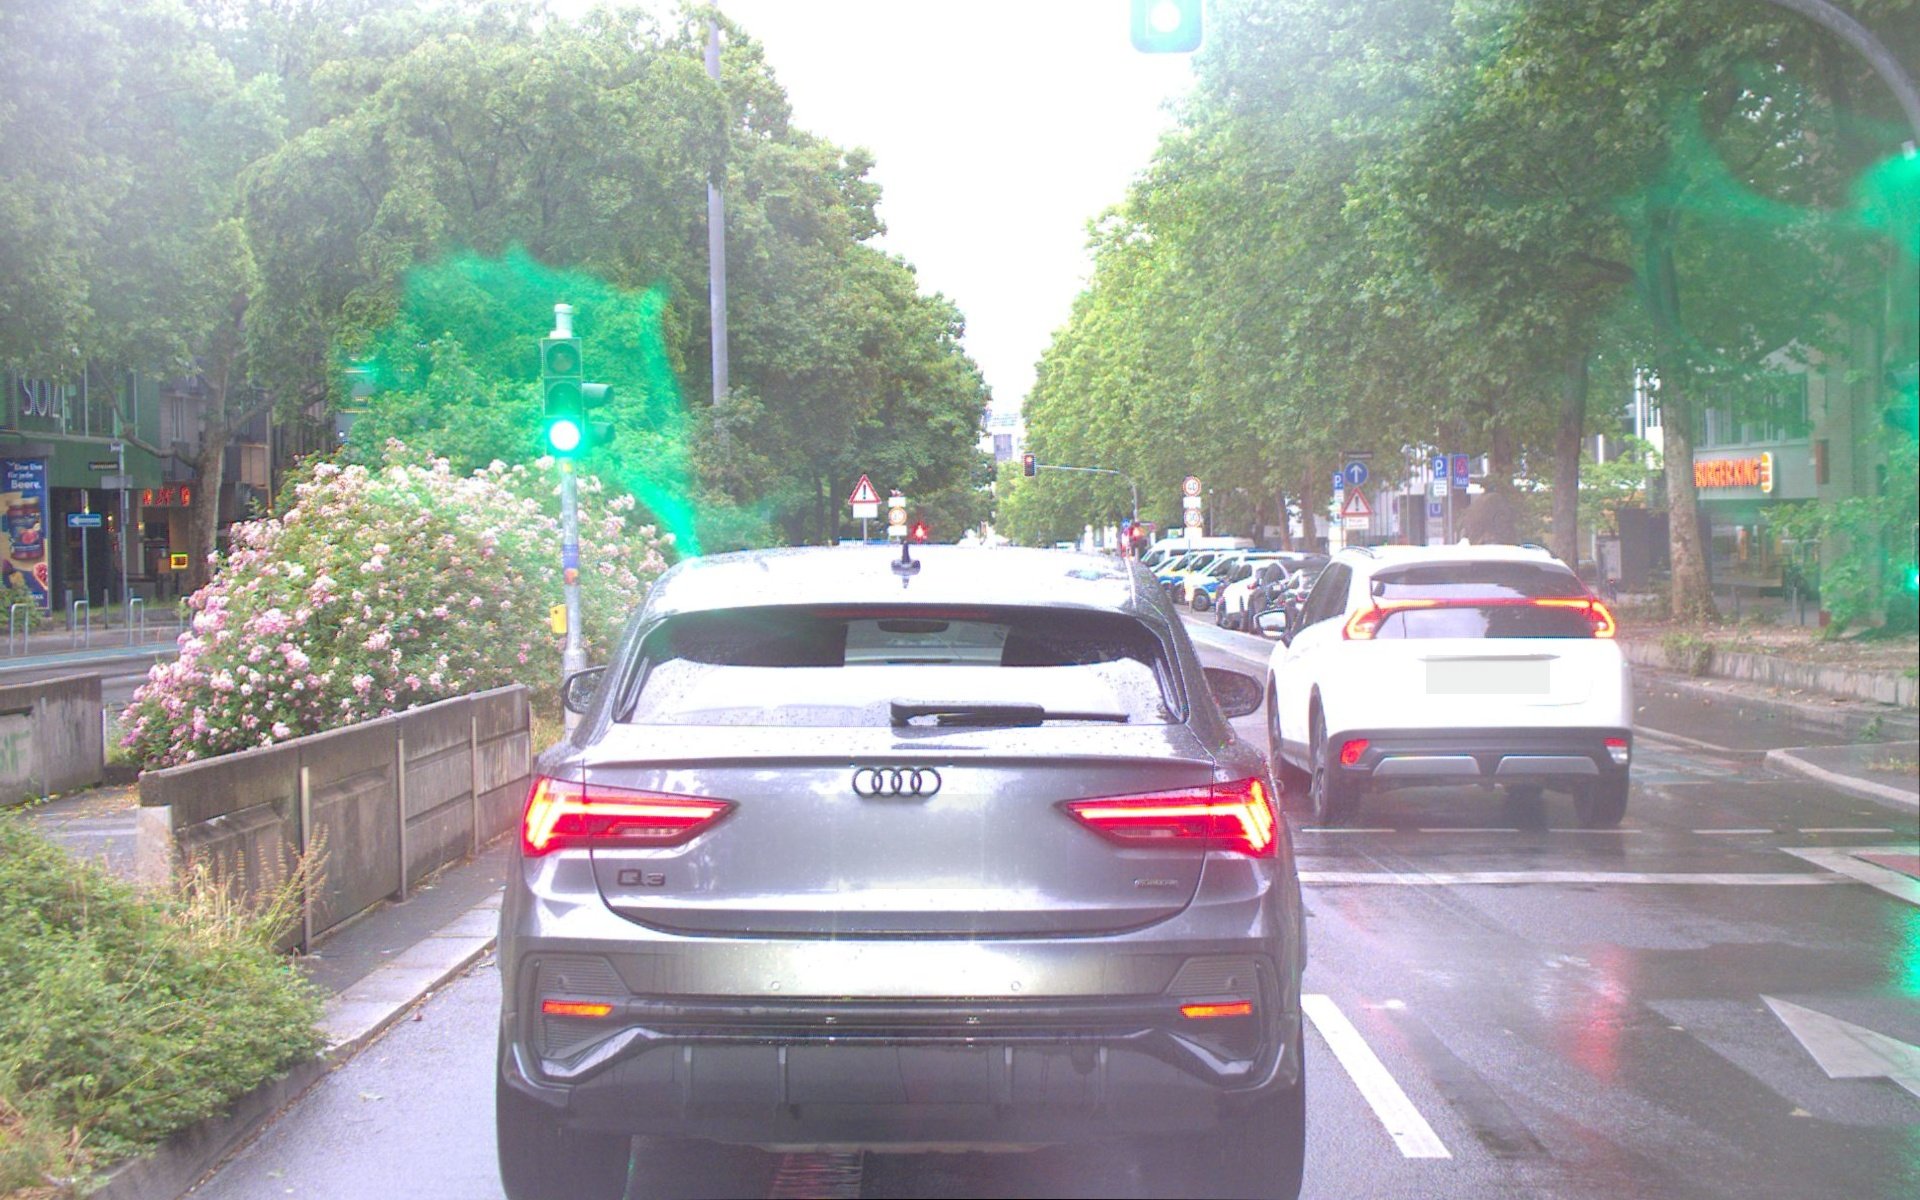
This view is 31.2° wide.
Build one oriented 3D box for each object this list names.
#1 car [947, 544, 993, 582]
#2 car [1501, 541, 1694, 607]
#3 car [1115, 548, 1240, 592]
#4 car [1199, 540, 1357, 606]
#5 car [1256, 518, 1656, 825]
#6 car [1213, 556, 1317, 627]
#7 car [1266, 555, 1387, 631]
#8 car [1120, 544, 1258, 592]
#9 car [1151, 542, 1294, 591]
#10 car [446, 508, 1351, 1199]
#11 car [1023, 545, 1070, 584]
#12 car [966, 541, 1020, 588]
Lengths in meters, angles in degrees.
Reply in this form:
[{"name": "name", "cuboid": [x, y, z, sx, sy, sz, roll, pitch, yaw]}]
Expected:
[{"name": "car", "cuboid": [0.423, -1.592, 148.370, 1.896, 1.593, 3.939, 1, 0, -1]}, {"name": "car", "cuboid": [10.831, -0.445, 58.465, 2.889, 1.071, 1.453, 1, 0, 31]}, {"name": "car", "cuboid": [8.824, -1.218, 139.824, 4.646, 1.700, 1.997, 1, 0, 28]}, {"name": "car", "cuboid": [10.001, -0.853, 108.199, 4.602, 2.007, 1.964, 1, 0, 39]}, {"name": "car", "cuboid": [2.946, 0.397, 21.232, 1.878, 1.691, 4.000, 1, 0, 0]}, {"name": "car", "cuboid": [6.932, -0.198, 78.471, 1.727, 1.566, 4.074, 1, 0, -4]}, {"name": "car", "cuboid": [7.185, -0.157, 67.743, 1.873, 1.416, 4.611, 1, 0, 0]}, {"name": "car", "cuboid": [8.409, -1.194, 126.446, 4.646, 1.700, 1.997, 1, 0, 28]}, {"name": "car", "cuboid": [9.370, -1.193, 122.846, 4.646, 1.700, 1.997, 1, 0, 28]}, {"name": "car", "cuboid": [-0.152, 0.590, 9.027, 1.849, 1.596, 4.000, 0, 1, -1]}, {"name": "car", "cuboid": [3.765, -1.526, 150.386, 1.993, 1.645, 4.000, 1, 0, 1]}, {"name": "car", "cuboid": [1.242, -1.332, 130.835, 1.993, 1.721, 4.000, 1, 0, 0]}]
